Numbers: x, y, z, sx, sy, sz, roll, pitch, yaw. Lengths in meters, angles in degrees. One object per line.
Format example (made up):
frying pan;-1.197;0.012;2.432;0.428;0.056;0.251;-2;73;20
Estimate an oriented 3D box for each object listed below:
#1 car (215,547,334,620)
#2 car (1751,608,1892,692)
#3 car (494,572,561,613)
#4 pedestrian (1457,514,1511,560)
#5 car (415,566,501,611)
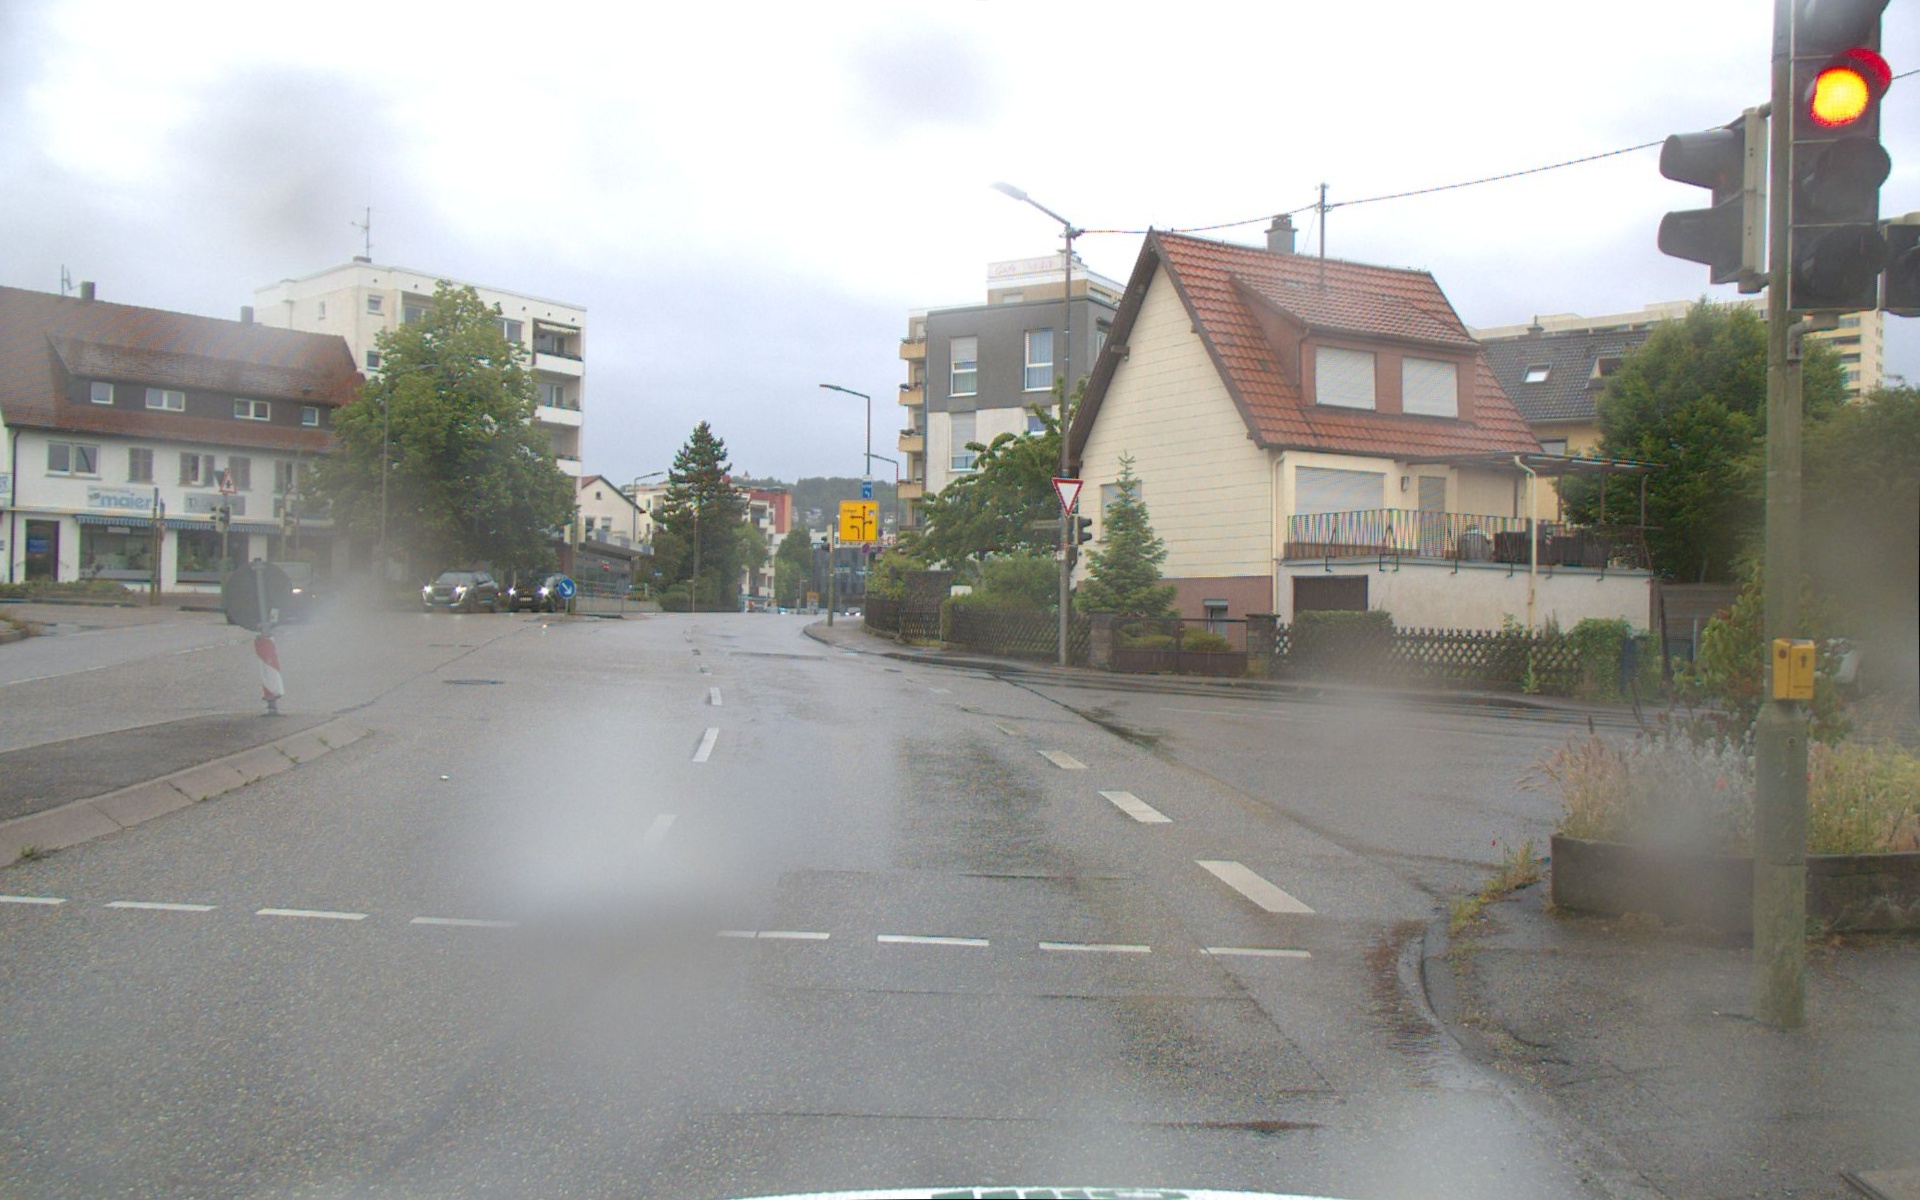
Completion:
car;-16.792;-0.384;40.406;1.974;1.653;4.489;1;0;-32
car;15.616;0.863;29.882;1.780;1.386;3.986;1;0;35
car;-18.033;-0.307;69.147;1.841;1.625;4.182;1;0;-2
pedestrian;11.147;-1.337;35.183;0.902;0.898;0.632;1;-2;-20
car;-18.048;-0.403;59.628;1.927;1.538;3.999;1;0;-1
